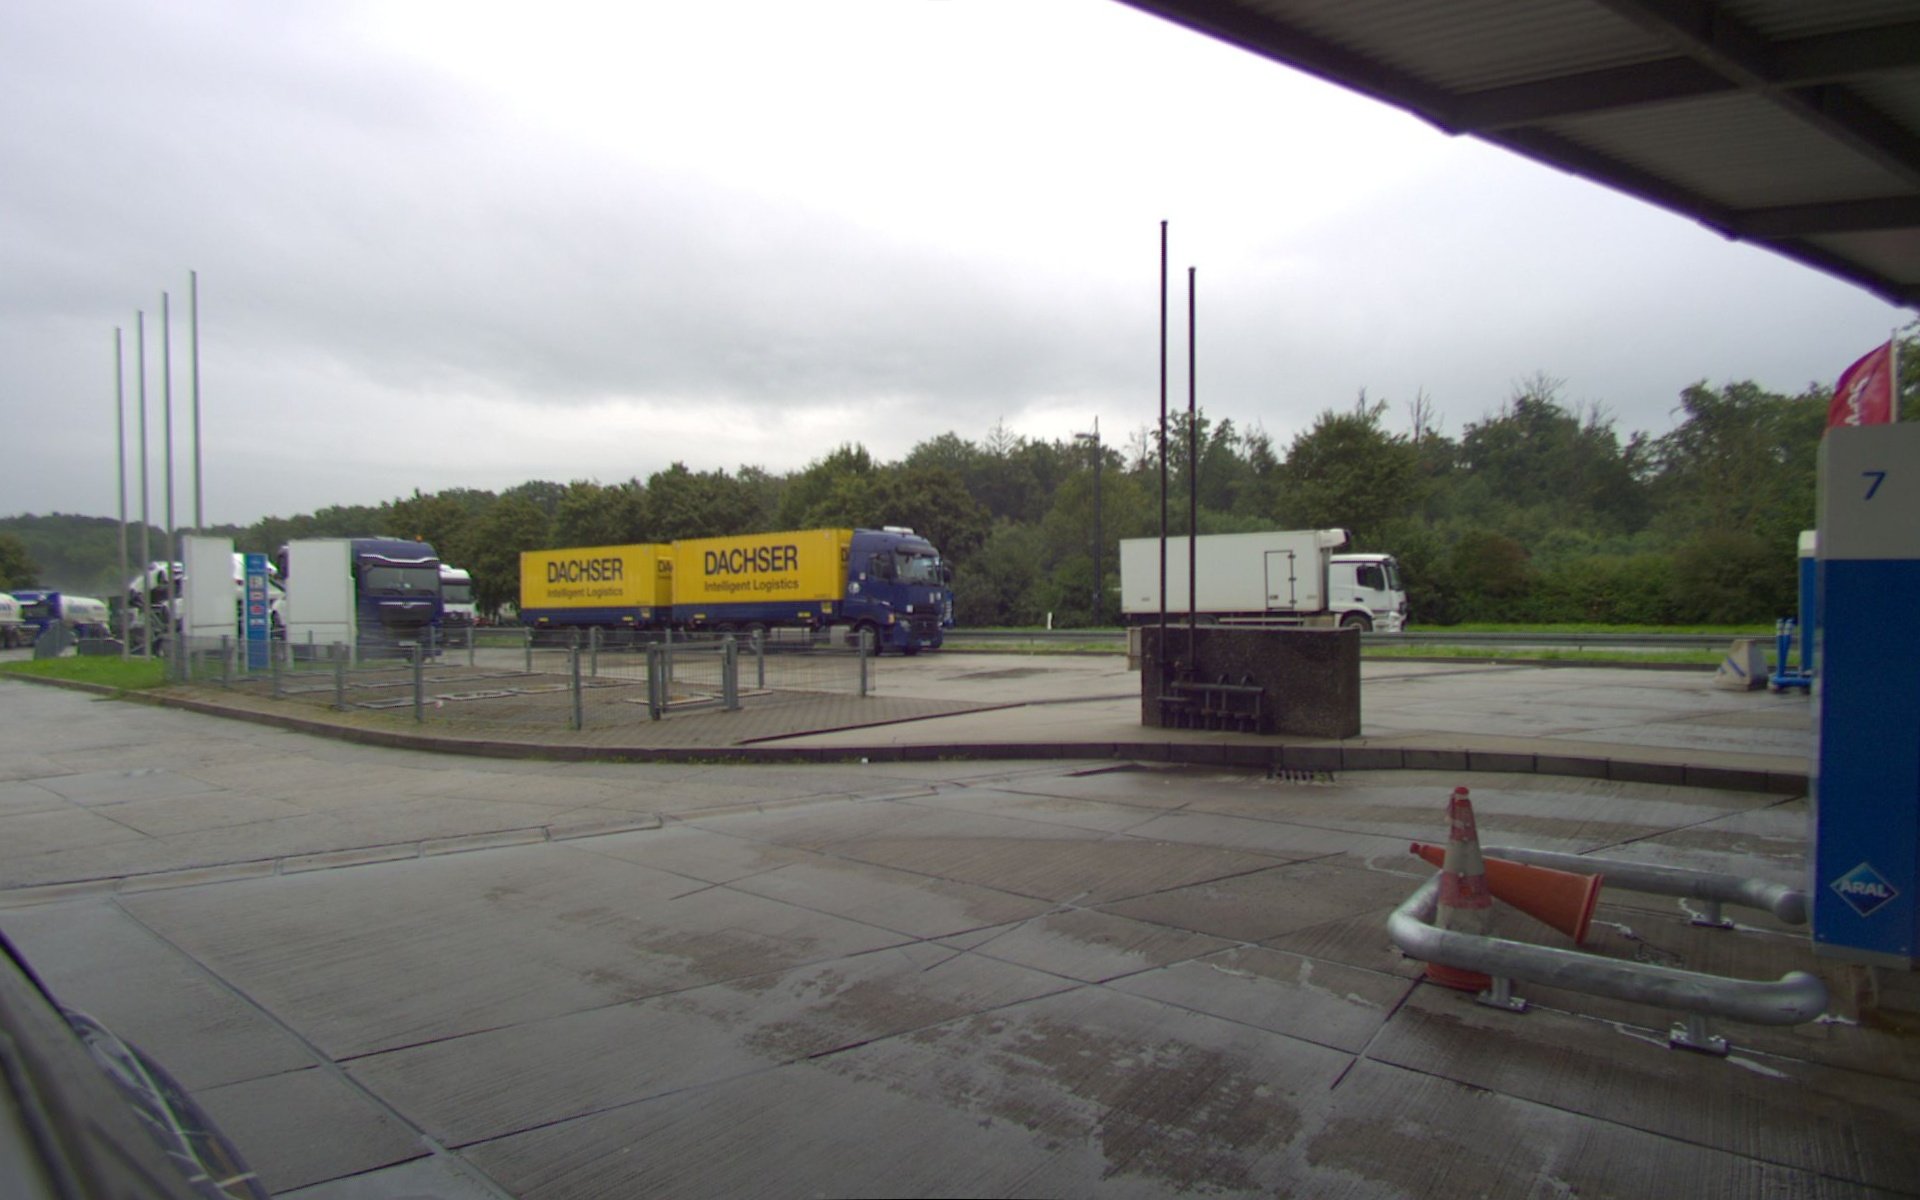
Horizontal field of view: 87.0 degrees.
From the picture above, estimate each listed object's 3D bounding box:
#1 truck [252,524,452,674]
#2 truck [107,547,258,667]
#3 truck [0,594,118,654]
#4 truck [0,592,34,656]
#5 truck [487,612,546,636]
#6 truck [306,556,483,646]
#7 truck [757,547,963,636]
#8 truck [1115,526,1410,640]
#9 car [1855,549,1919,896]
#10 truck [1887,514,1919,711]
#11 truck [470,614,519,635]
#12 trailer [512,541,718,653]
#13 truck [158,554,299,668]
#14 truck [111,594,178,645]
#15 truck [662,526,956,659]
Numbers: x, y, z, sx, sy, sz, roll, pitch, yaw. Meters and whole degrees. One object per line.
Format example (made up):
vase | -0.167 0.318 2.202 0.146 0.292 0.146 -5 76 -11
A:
truck | -19.007 0.009 31.479 7.089 4.213 2.635 -1 0 35
truck | -29.588 0.296 38.447 6.605 4.213 2.635 -1 0 35
truck | -61.496 1.619 68.654 3.454 3.633 14.709 -1 -1 -27
truck | -55.156 1.336 53.687 3.454 3.633 14.444 -1 -1 -19
truck | -41.203 2.206 93.941 5.810 2.140 2.061 -1 0 31
truck | -27.318 0.101 48.629 10.654 3.946 2.727 -1 0 33
truck | -4.879 -0.318 47.646 10.195 3.836 2.395 -1 0 31
truck | 10.970 -0.522 37.452 10.195 3.836 2.395 -1 0 31
car | 6.914 0.540 3.803 5.269 1.620 1.842 -1 0 41
truck | 14.996 0.122 11.958 5.859 2.513 2.208 -1 0 41
truck | -47.083 2.470 102.409 4.913 2.029 1.980 -1 0 29
trailer | -13.498 -0.076 39.260 8.679 3.946 2.728 -1 0 32
truck | -26.106 0.393 36.074 4.738 3.800 2.635 -1 0 34
truck | -71.218 1.658 88.250 11.524 4.160 3.101 -1 0 44
truck | -5.335 -0.181 34.031 10.654 3.946 2.727 -1 0 33
